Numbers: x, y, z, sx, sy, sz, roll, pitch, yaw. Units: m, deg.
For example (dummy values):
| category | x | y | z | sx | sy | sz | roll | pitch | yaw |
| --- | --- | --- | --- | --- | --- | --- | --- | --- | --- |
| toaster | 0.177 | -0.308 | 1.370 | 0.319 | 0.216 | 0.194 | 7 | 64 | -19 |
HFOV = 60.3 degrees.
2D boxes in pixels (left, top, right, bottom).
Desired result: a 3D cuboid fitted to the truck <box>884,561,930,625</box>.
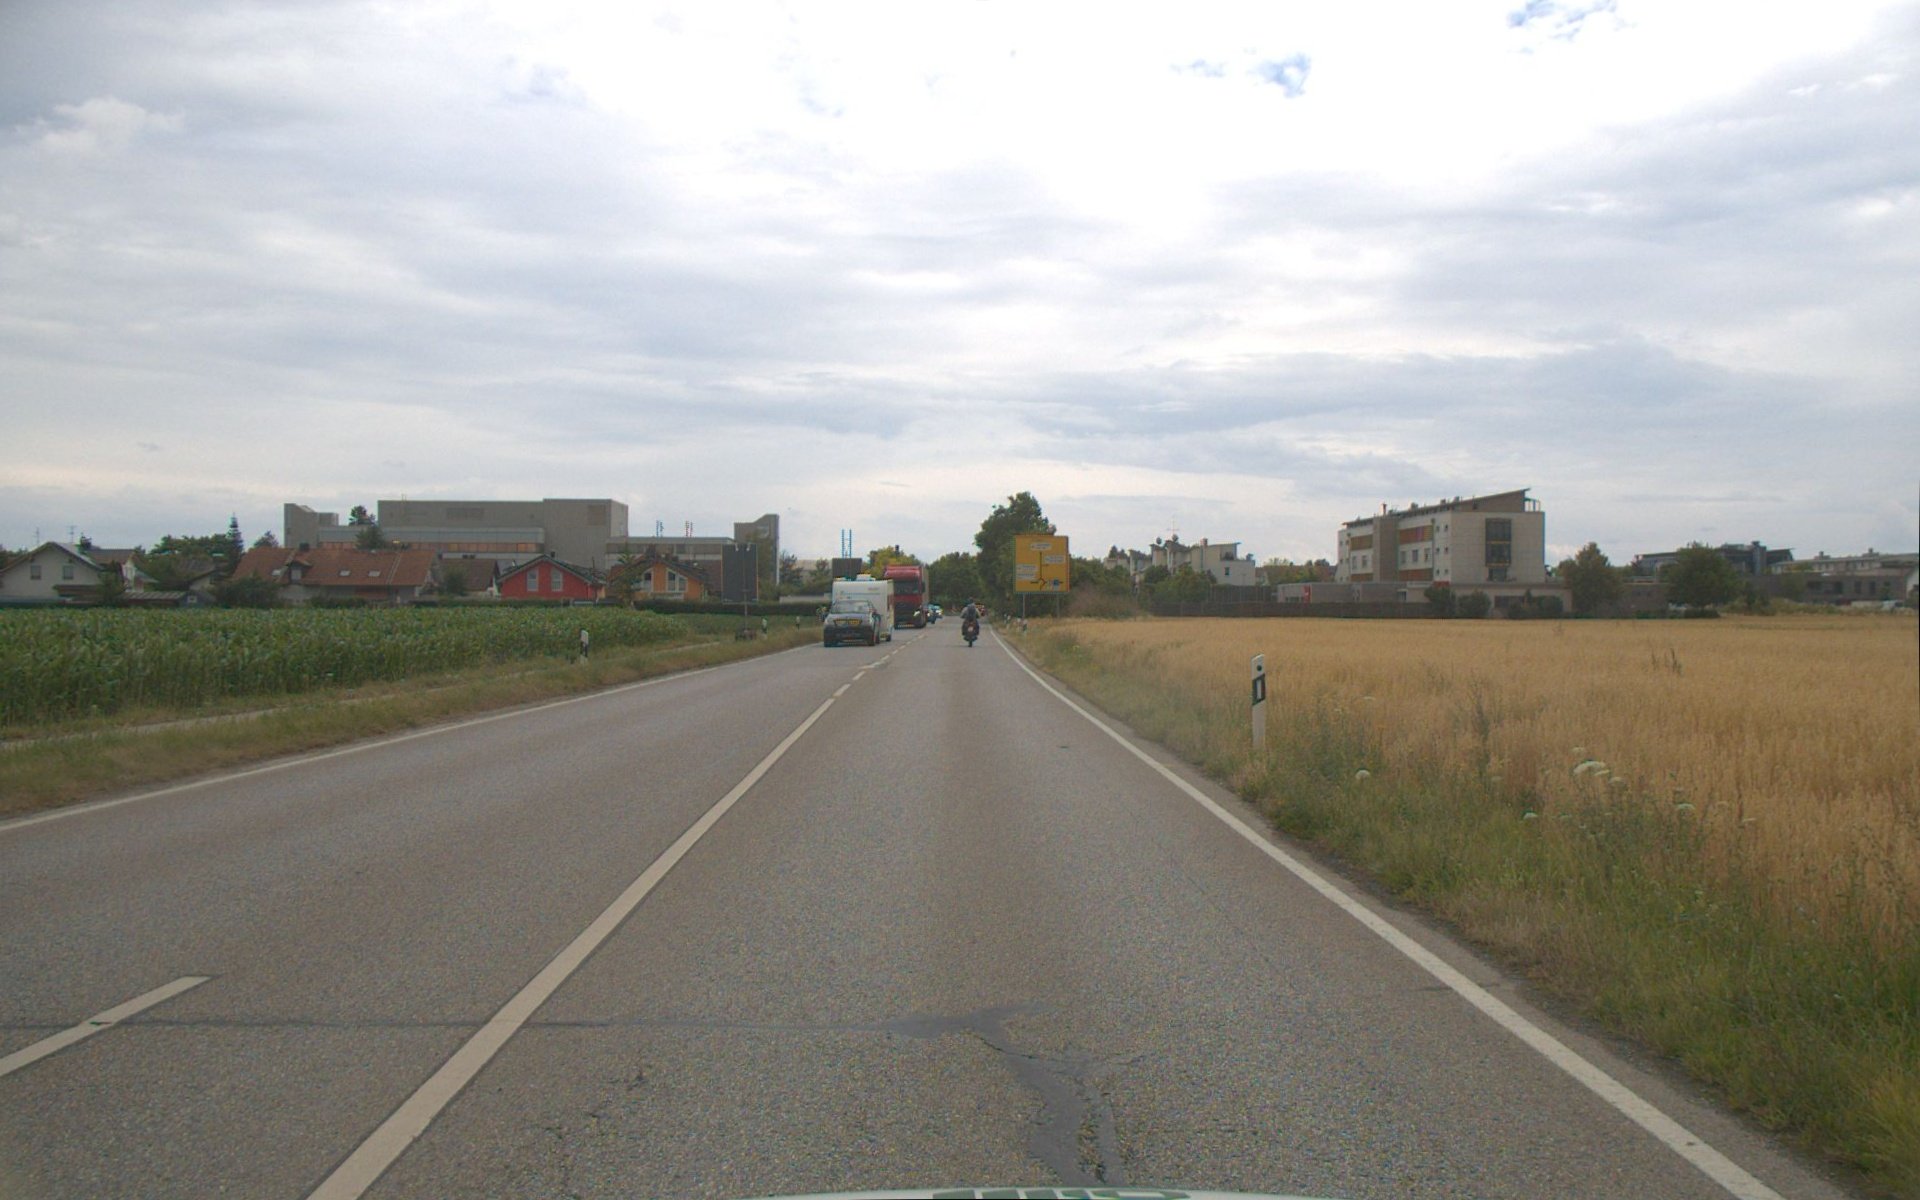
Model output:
| category | x | y | z | sx | sy | sz | roll | pitch | yaw |
| --- | --- | --- | --- | --- | --- | --- | --- | --- | --- |
| truck | -3.460 | -0.406 | 109.063 | 2.673 | 4.057 | 6.816 | -1 | -1 | 1 |

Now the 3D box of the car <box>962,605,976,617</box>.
| category | x | y | z | sx | sy | sz | roll | pitch | yaw |
| --- | --- | --- | --- | --- | --- | --- | --- | --- | --- |
| car | 1.130 | 1.396 | 210.964 | 1.817 | 1.498 | 4.000 | 0 | -1 | 0 |

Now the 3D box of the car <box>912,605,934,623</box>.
| category | x | y | z | sx | sy | sz | roll | pitch | yaw |
| --- | --- | --- | --- | --- | --- | --- | --- | --- | --- |
| car | -3.074 | 1.146 | 137.380 | 1.817 | 1.498 | 3.999 | 0 | -1 | -1 |

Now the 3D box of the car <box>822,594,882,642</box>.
| category | x | y | z | sx | sy | sz | roll | pitch | yaw |
| --- | --- | --- | --- | --- | --- | --- | --- | --- | --- |
| car | -4.028 | 0.674 | 62.488 | 1.953 | 1.729 | 4.675 | 0 | 0 | 0 |

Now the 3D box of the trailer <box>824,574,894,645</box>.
| category | x | y | z | sx | sy | sz | roll | pitch | yaw |
| --- | --- | --- | --- | --- | --- | --- | --- | --- | --- |
| trailer | -4.093 | 0.399 | 68.456 | 2.276 | 2.777 | 7.843 | 0 | 0 | 1 |

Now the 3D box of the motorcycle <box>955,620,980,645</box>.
| category | x | y | z | sx | sy | sz | roll | pitch | yaw |
| --- | --- | --- | --- | --- | --- | --- | --- | --- | --- |
| motorcycle | 0.280 | 1.207 | 61.455 | 0.922 | 0.905 | 2.146 | 0 | -1 | 0 |

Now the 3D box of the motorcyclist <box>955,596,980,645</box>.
| category | x | y | z | sx | sy | sz | roll | pitch | yaw |
| --- | --- | --- | --- | --- | --- | --- | --- | --- | --- |
| motorcyclist | 0.282 | 0.756 | 61.515 | 0.922 | 1.780 | 1.200 | 0 | -1 | 0 |

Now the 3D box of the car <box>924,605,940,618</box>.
| category | x | y | z | sx | sy | sz | roll | pitch | yaw |
| --- | --- | --- | --- | --- | --- | --- | --- | --- | --- |
| car | -3.220 | 1.298 | 189.979 | 1.817 | 1.498 | 3.999 | 0 | -1 | -1 |
